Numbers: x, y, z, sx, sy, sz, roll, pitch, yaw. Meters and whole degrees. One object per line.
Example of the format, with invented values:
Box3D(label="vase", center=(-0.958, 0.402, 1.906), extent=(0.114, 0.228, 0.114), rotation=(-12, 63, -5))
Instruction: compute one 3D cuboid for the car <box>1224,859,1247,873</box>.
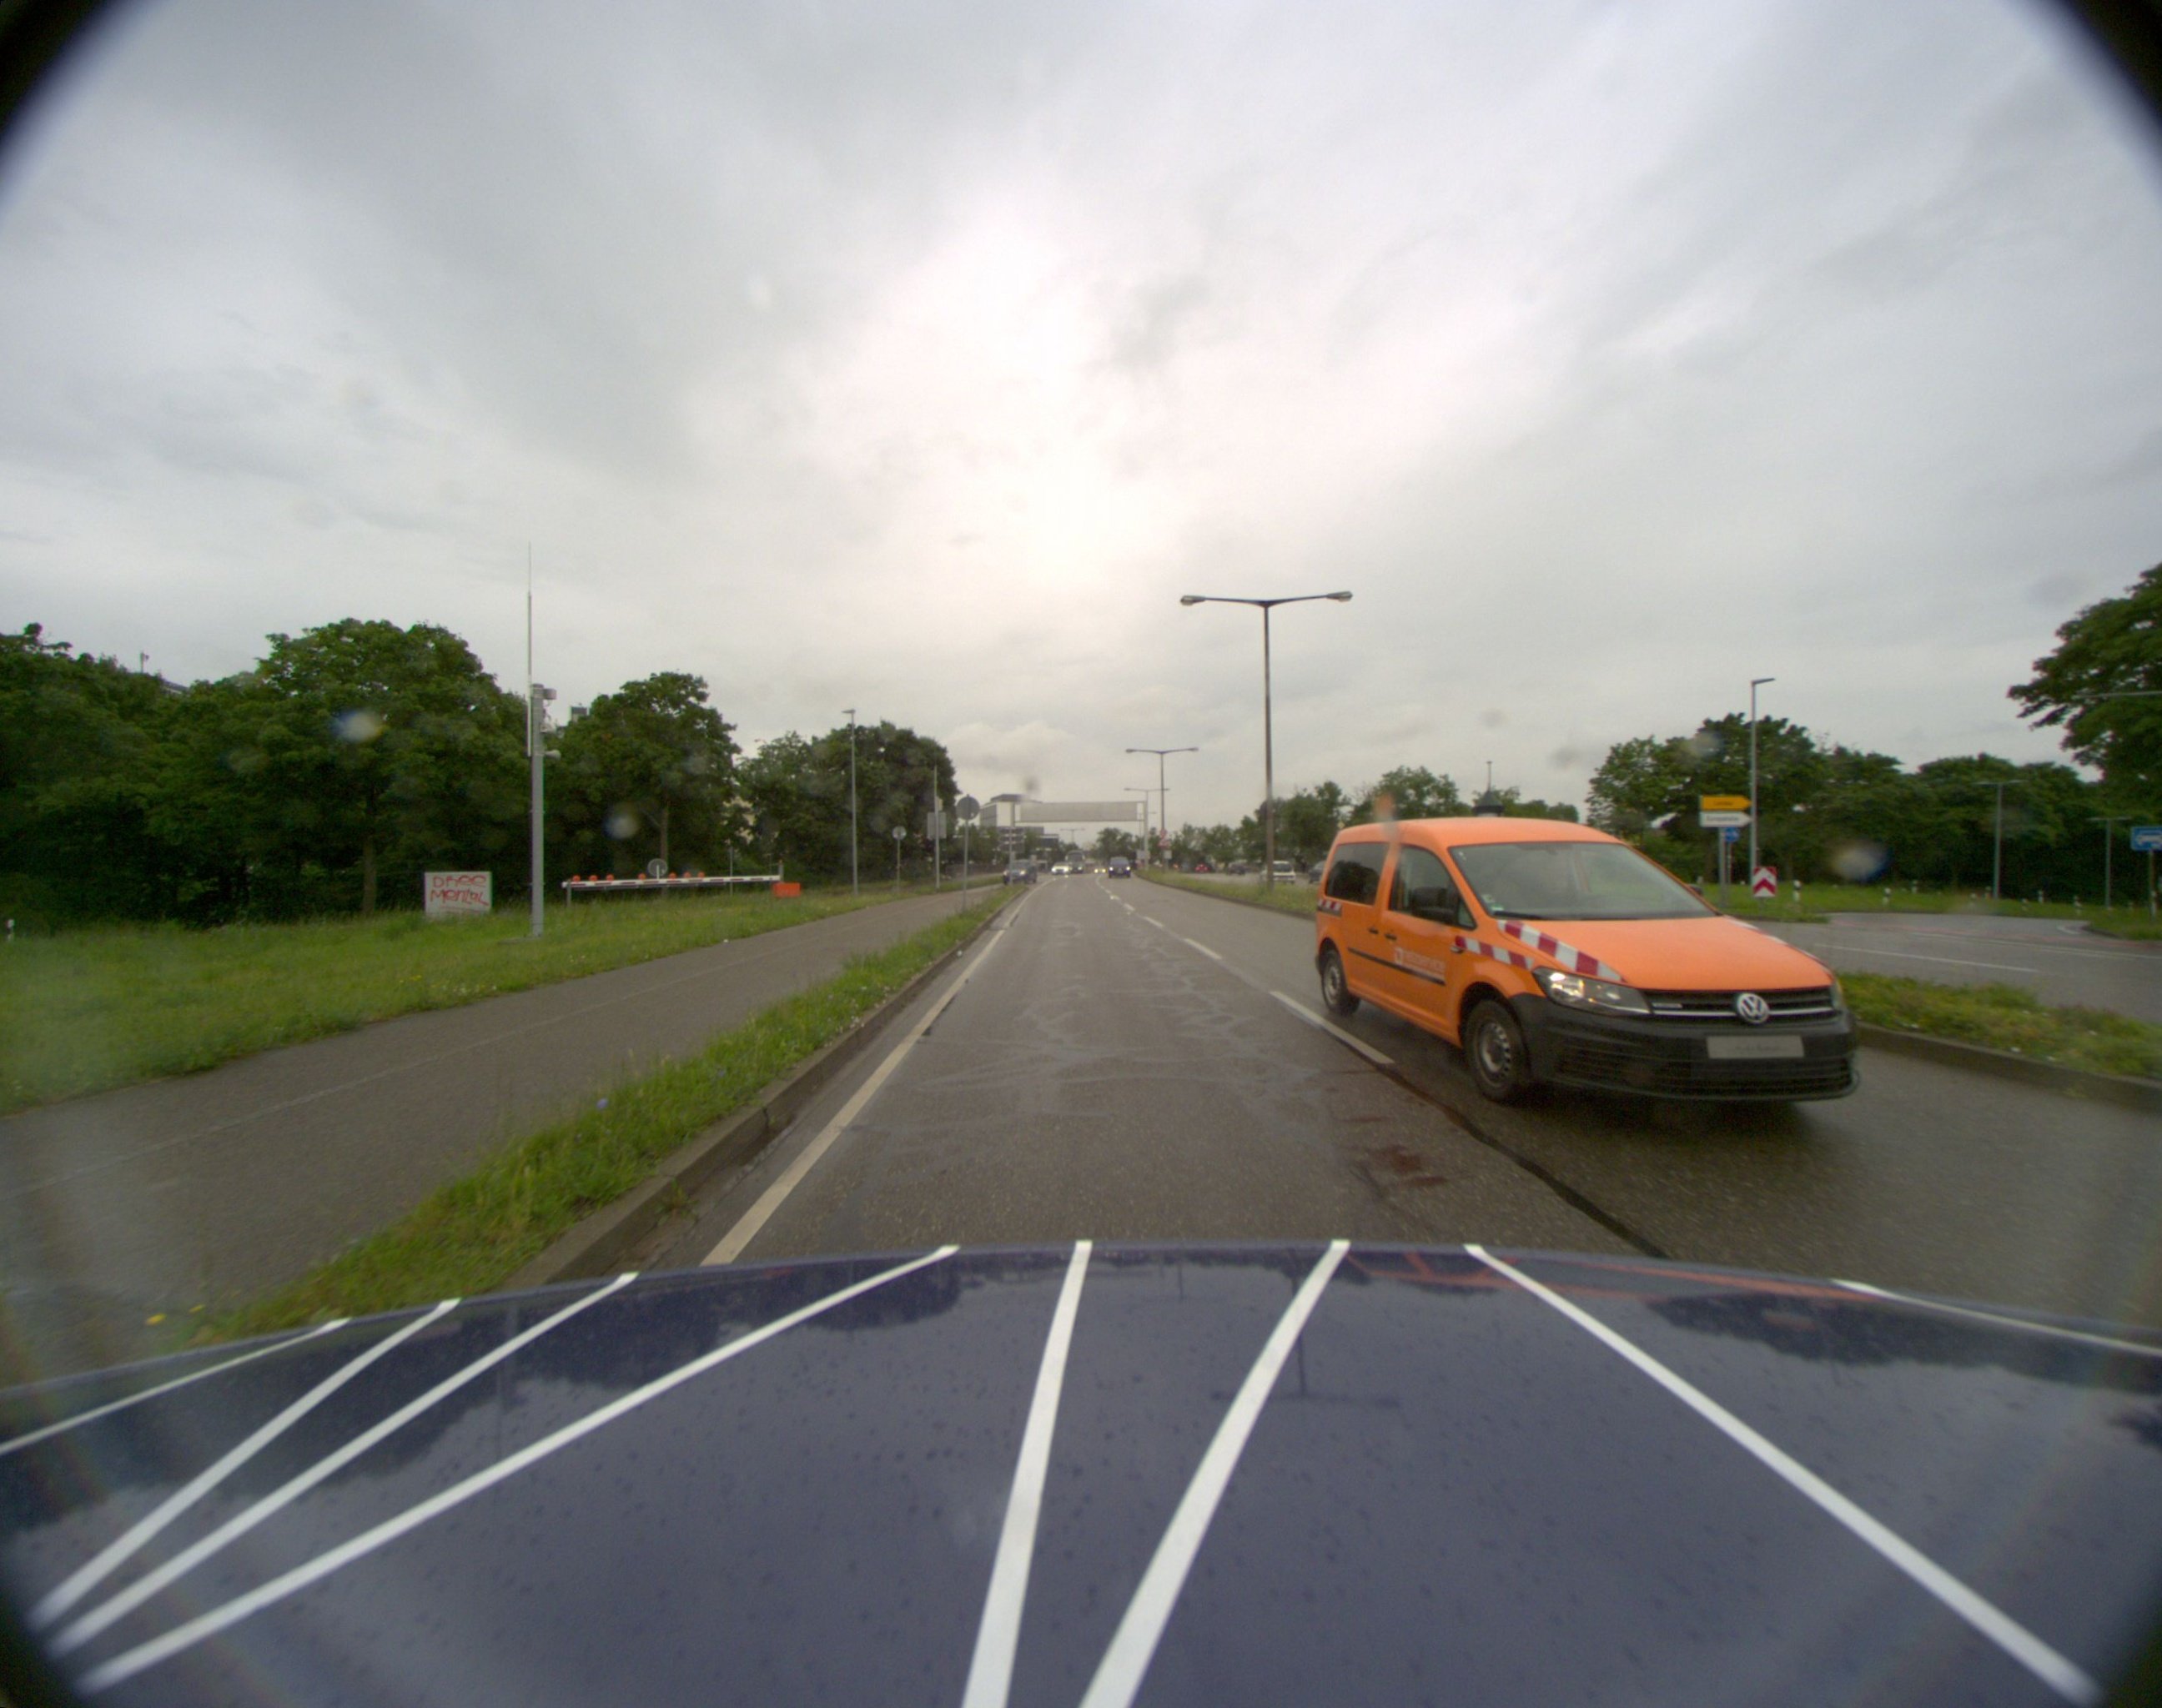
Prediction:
Box3D(label="car", center=(17.289, 1.340, 85.062), extent=(1.850, 1.513, 4.031), rotation=(-2, 0, 1))

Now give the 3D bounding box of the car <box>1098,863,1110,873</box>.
Box3D(label="car", center=(4.061, 2.487, 134.613), extent=(1.998, 1.701, 4.000), rotation=(-2, 1, 1))

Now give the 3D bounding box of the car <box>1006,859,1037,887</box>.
Box3D(label="car", center=(-4.422, 1.365, 56.686), extent=(1.970, 1.787, 4.685), rotation=(-3, 1, -2))

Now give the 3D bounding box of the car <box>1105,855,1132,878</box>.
Box3D(label="car", center=(3.124, 1.008, 64.800), extent=(1.850, 1.740, 4.816), rotation=(-3, 1, -2))

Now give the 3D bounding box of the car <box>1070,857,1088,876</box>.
Box3D(label="car", center=(-0.204, 1.568, 98.562), extent=(2.252, 2.249, 5.170), rotation=(-2, 0, 1))

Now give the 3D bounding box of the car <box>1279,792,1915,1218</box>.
Box3D(label="car", center=(3.145, 0.736, 6.111), extent=(1.739, 2.007, 4.849), rotation=(-2, 0, -1))

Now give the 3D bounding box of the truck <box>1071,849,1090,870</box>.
Box3D(label="truck", center=(-0.095, 0.862, 122.037), extent=(2.860, 3.197, 8.097), rotation=(-2, 1, 1))

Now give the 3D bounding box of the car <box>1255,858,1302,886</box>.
Box3D(label="car", center=(12.614, 1.112, 48.810), extent=(1.850, 1.612, 4.030), rotation=(-2, 0, -2))

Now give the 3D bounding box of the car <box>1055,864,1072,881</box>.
Box3D(label="car", center=(-1.996, 2.092, 87.247), extent=(1.841, 1.739, 4.000), rotation=(-2, 0, 1))

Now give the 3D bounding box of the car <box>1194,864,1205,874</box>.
Box3D(label="car", center=(23.592, 2.961, 151.110), extent=(1.850, 1.740, 4.032), rotation=(-2, 0, 4))

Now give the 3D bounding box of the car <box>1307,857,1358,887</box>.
Box3D(label="car", center=(16.035, 1.120, 48.662), extent=(1.850, 1.740, 4.030), rotation=(-2, 0, -2))

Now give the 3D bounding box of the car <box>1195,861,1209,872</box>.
Box3D(label="car", center=(20.406, 2.162, 128.369), extent=(1.850, 1.740, 4.032), rotation=(-2, 0, 4))
